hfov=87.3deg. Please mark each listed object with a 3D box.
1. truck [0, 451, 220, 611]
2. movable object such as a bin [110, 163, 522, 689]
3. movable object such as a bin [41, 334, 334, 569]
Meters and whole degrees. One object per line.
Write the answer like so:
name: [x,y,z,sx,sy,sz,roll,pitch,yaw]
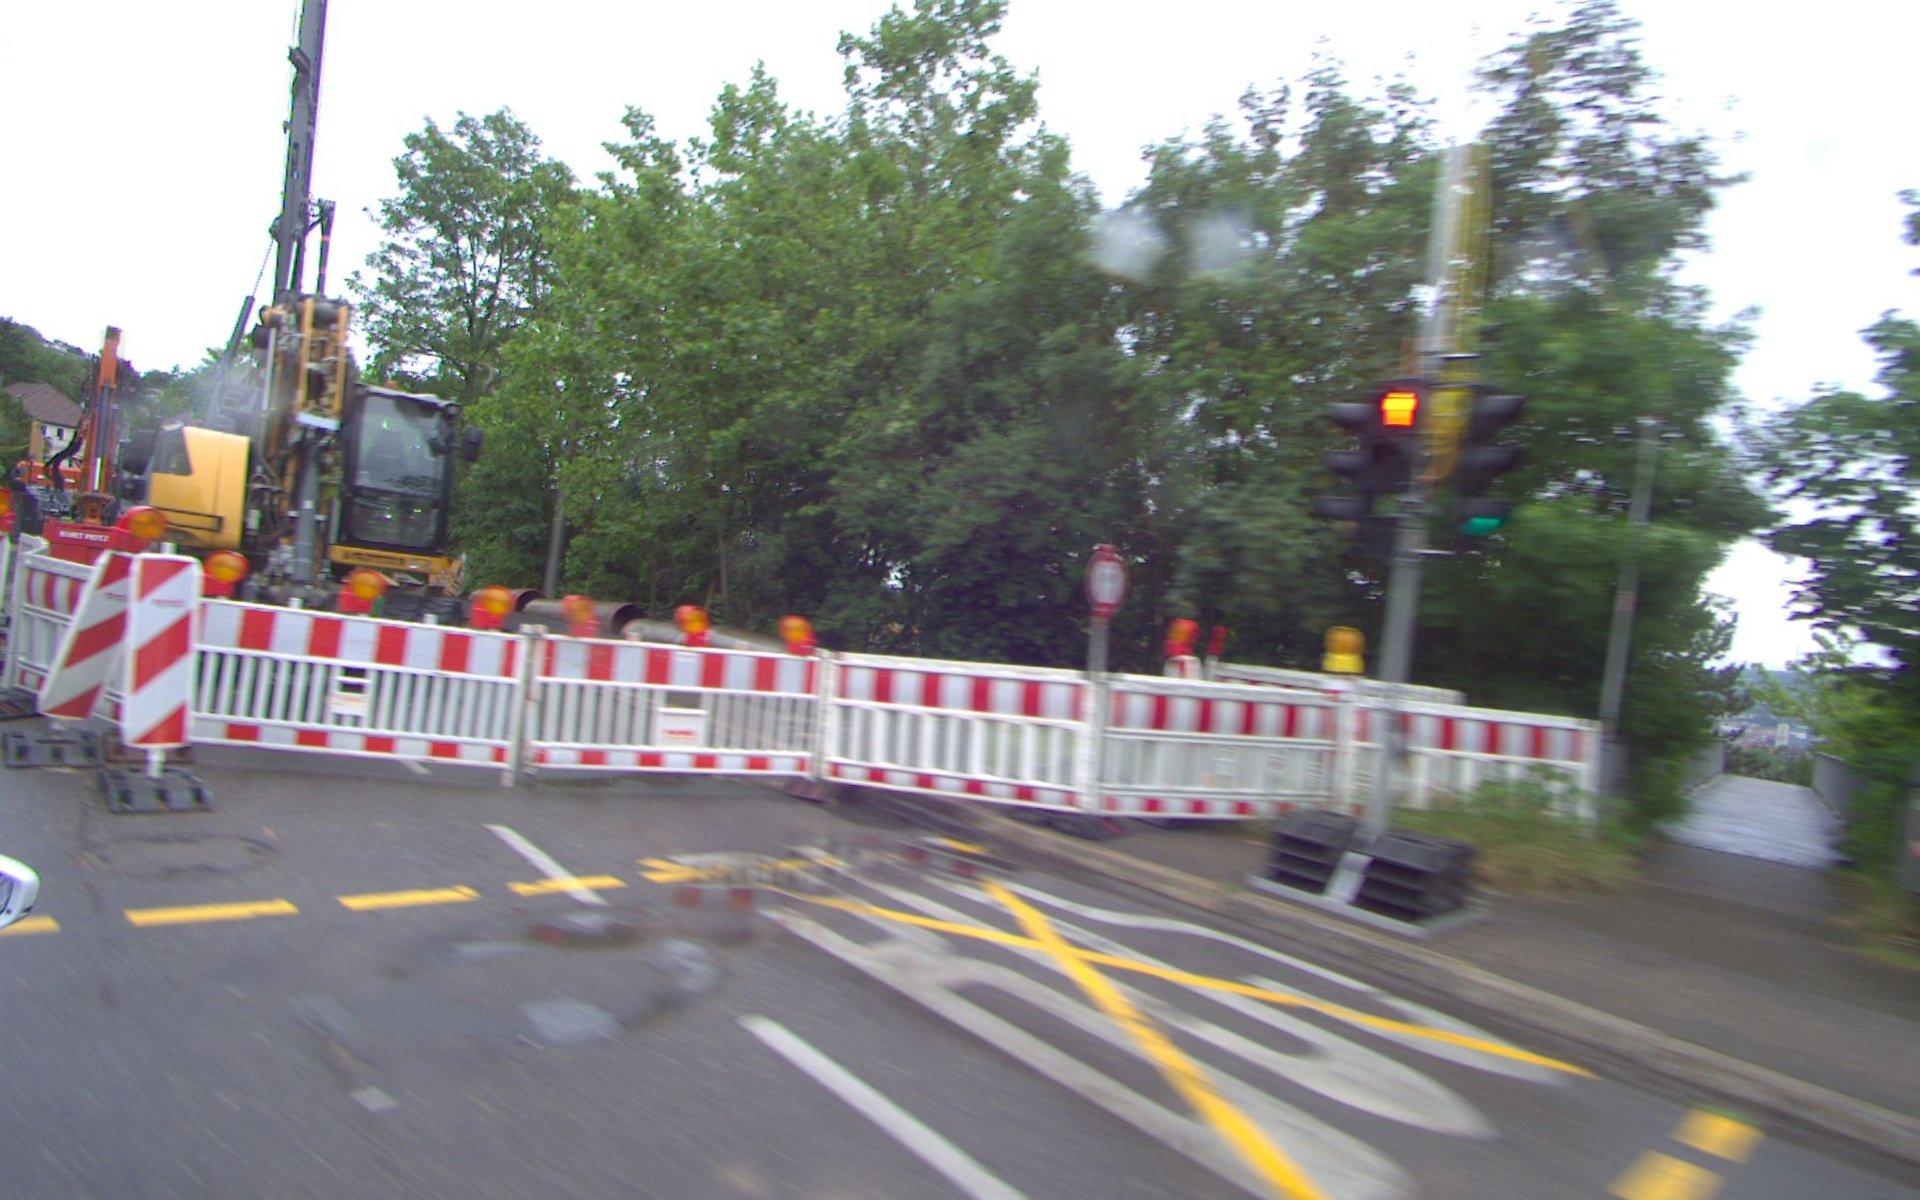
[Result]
truck: [-14.083,-1.064,16.606,2.542,2.134,3.265,6,-1,-43]
movable object such as a bin: [-7.082,-1.487,10.889,2.865,4.223,4.437,6,1,-39]
movable object such as a bin: [-21.132,-3.710,28.246,3.635,5.128,7.144,5,-1,-14]
